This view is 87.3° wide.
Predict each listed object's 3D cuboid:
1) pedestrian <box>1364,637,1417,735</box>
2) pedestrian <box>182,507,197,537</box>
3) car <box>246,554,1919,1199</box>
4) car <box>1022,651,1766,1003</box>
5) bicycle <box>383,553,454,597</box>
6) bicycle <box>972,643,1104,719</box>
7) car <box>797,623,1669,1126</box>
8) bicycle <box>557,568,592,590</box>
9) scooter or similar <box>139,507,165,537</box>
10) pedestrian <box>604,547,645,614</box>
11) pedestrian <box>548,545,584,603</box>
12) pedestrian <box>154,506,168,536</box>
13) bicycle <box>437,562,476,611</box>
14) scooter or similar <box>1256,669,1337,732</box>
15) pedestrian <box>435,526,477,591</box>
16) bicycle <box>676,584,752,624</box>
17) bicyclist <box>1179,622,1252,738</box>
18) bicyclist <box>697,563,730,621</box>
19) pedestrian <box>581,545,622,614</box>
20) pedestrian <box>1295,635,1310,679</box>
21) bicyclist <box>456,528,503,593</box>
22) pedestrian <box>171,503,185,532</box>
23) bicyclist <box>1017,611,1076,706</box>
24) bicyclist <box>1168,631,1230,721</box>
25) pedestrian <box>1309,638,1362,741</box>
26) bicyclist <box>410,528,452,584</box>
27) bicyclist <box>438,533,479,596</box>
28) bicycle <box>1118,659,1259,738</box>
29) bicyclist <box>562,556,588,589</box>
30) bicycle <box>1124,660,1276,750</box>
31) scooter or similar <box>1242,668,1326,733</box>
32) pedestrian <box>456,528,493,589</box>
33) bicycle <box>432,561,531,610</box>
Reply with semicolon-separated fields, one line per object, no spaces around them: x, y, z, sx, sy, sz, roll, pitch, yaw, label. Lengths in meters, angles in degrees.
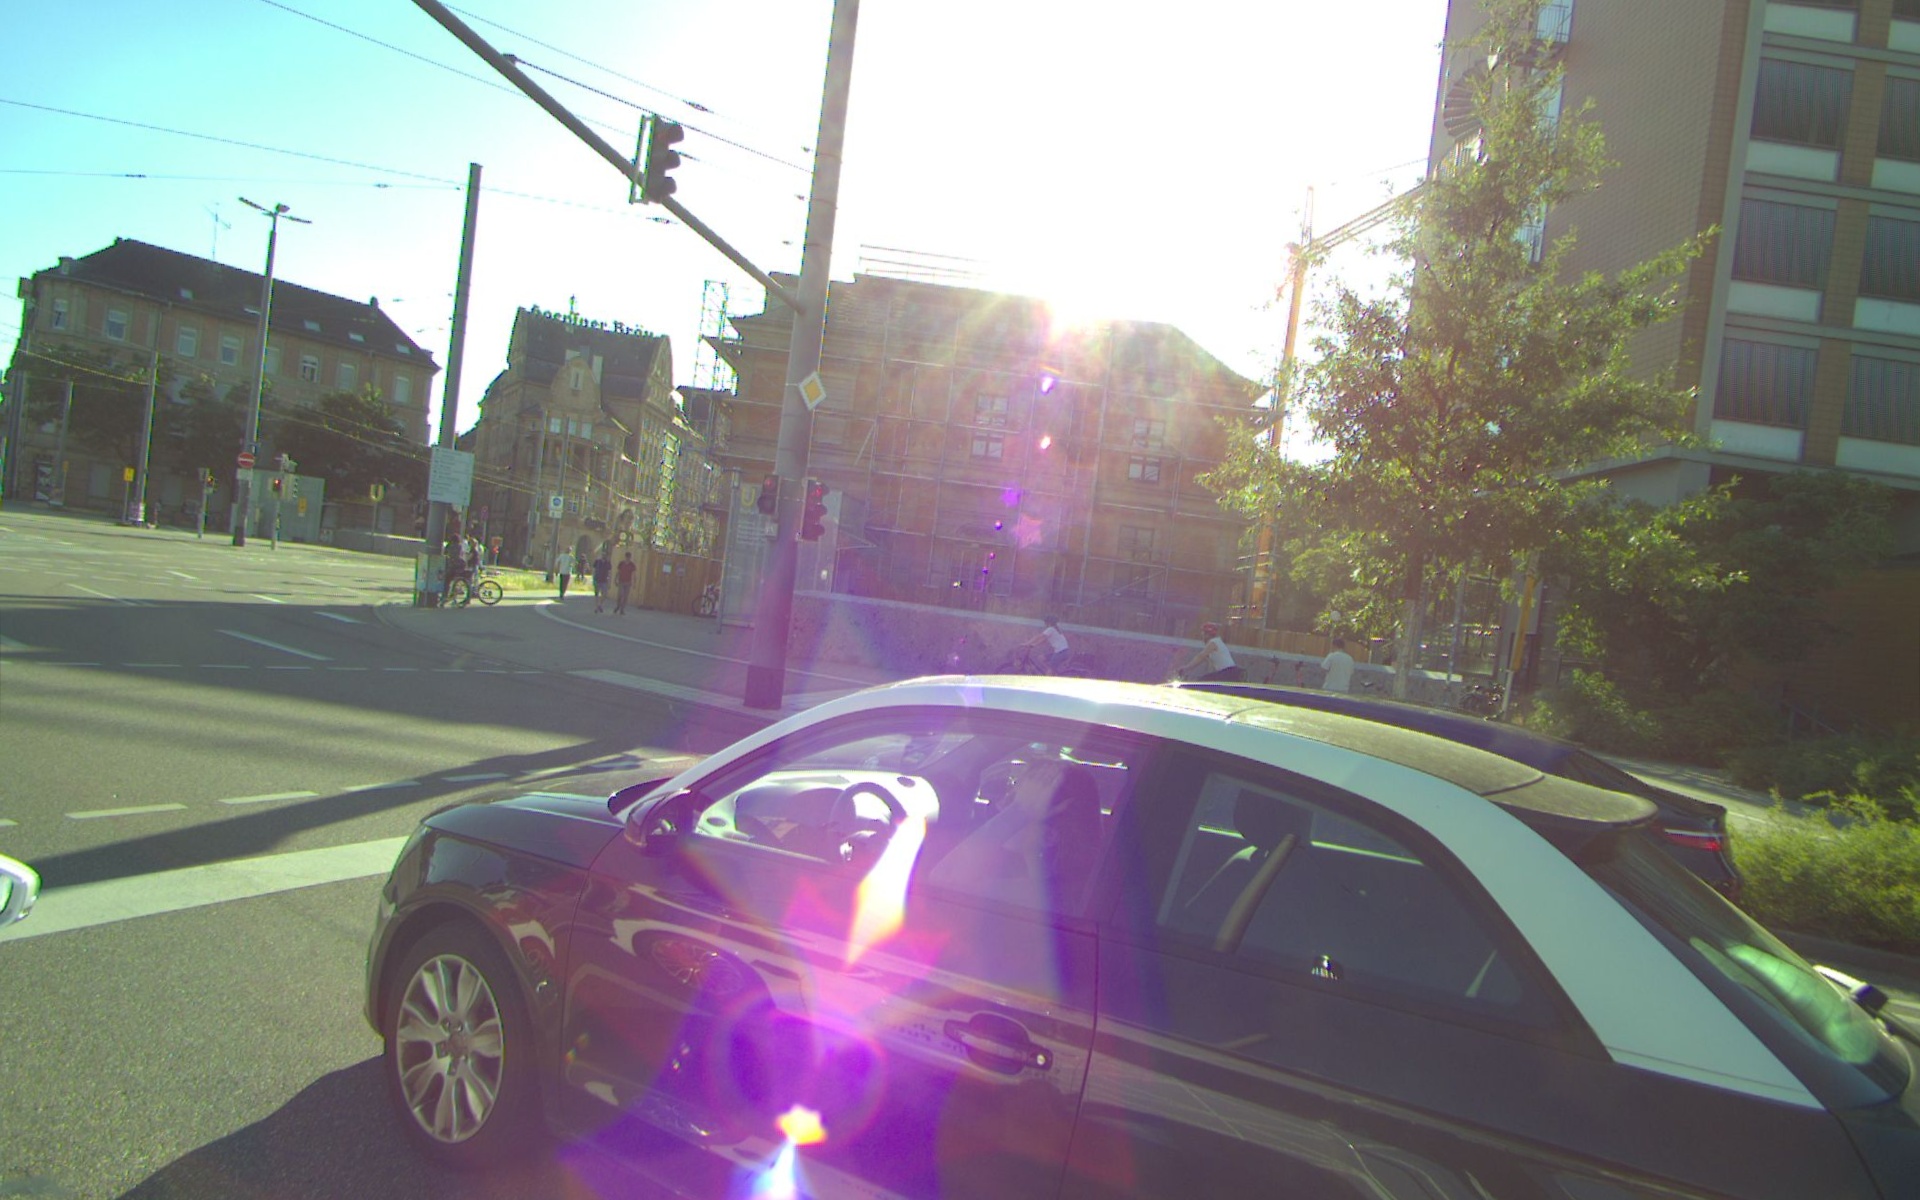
8.845;1.756;20.676;0.461;1.908;0.687;8;-1;-41;pedestrian
-55.366;-5.608;72.268;0.600;2.039;0.638;6;1;-43;pedestrian
0.017;0.828;2.686;3.934;1.420;1.627;6;-2;32;car
2.892;1.395;7.431;4.435;1.420;1.727;6;-2;30;car
-16.816;-0.783;31.249;2.278;1.061;0.536;8;-1;24;bicycle
1.283;1.323;16.694;1.998;0.976;0.659;6;2;23;bicycle
1.238;1.097;5.376;3.934;1.420;1.627;6;-2;32;car
-20.105;-1.088;52.509;0.892;0.925;2.625;7;-2;-5;bicycle
-42.247;-4.084;52.606;0.784;1.392;1.885;8;-2;-44;scooter or similar
-9.659;-0.557;28.977;0.672;1.828;0.672;7;-1;11;pedestrian
-13.241;-0.882;33.803;0.678;1.835;0.649;7;-1;25;pedestrian
-57.007;-5.636;71.764;0.600;2.039;0.638;6;1;-43;pedestrian
-12.502;-0.354;24.943;0.693;1.062;2.303;7;0;-29;bicycle
6.453;1.925;19.326;1.346;1.007;0.343;7;-1;13;scooter or similar
-16.757;-1.381;33.469;0.748;2.037;0.733;7;-1;25;pedestrian
-8.068;0.132;33.054;2.278;1.063;0.535;5;2;-3;bicycle
3.750;1.154;14.738;0.780;1.573;0.667;7;2;22;bicyclist
-8.094;-0.268;33.047;0.781;1.800;0.523;7;-1;-4;bicyclist
-10.057;-0.557;28.207;0.672;1.830;0.672;7;2;11;pedestrian
13.947;2.326;40.931;0.369;1.752;0.444;7;-1;17;pedestrian
-12.778;-1.029;26.749;0.936;1.575;0.706;8;-1;-27;bicyclist
-56.623;-5.963;72.819;0.600;2.039;0.638;6;1;-43;pedestrian
1.431;0.973;16.637;0.661;1.471;0.618;7;-1;21;bicyclist
3.784;1.193;15.951;0.661;1.330;0.617;7;-1;-3;bicyclist
6.403;1.511;17.163;0.592;1.662;0.677;7;3;29;pedestrian
-16.366;-1.358;31.097;0.930;1.575;0.516;7;-1;24;bicyclist
-12.457;-0.878;24.993;0.703;1.456;0.940;8;-1;-30;bicyclist
3.596;1.553;15.934;1.997;0.976;0.660;6;2;-1;bicycle
-20.048;-1.406;52.427;0.835;1.565;1.042;7;-1;-4;bicyclist
3.529;1.519;14.826;1.998;0.976;0.659;7;3;24;bicycle
5.991;1.853;18.602;1.348;1.007;0.342;7;-1;25;scooter or similar
-16.510;-1.398;34.207;0.678;1.945;0.649;7;-1;25;pedestrian
-12.739;-0.372;26.808;2.293;1.062;0.696;6;-1;-28;bicycle
